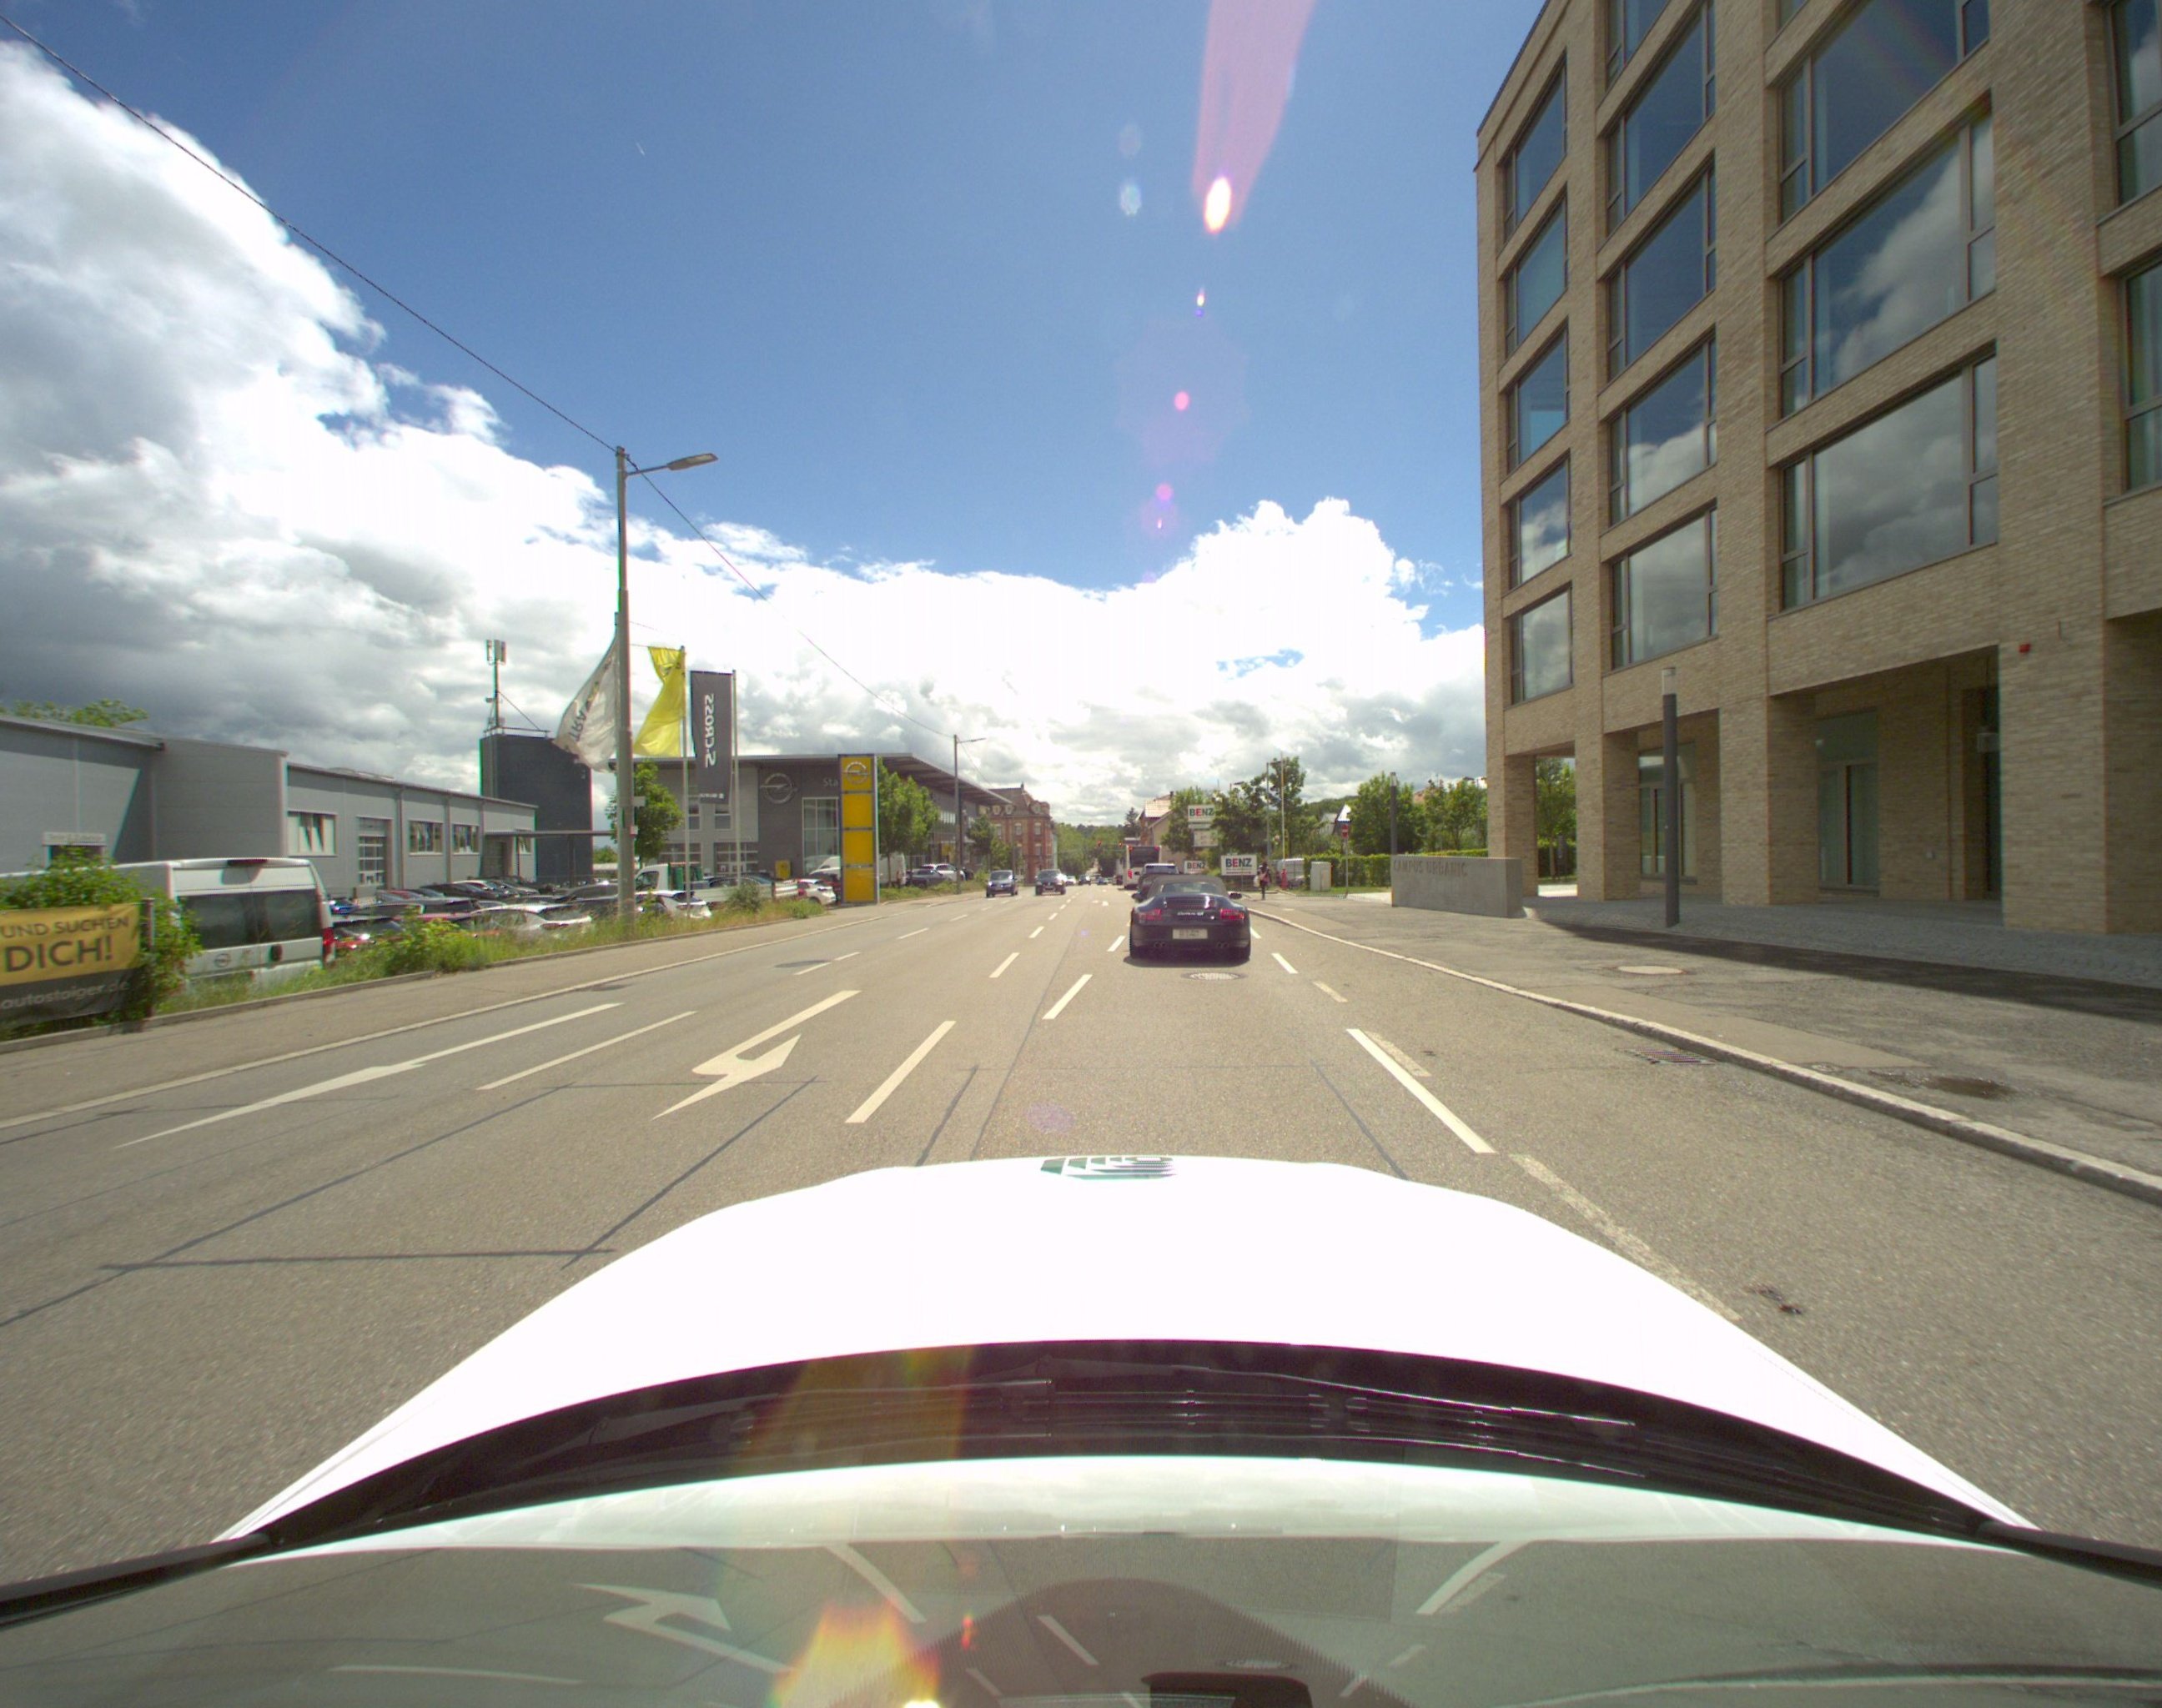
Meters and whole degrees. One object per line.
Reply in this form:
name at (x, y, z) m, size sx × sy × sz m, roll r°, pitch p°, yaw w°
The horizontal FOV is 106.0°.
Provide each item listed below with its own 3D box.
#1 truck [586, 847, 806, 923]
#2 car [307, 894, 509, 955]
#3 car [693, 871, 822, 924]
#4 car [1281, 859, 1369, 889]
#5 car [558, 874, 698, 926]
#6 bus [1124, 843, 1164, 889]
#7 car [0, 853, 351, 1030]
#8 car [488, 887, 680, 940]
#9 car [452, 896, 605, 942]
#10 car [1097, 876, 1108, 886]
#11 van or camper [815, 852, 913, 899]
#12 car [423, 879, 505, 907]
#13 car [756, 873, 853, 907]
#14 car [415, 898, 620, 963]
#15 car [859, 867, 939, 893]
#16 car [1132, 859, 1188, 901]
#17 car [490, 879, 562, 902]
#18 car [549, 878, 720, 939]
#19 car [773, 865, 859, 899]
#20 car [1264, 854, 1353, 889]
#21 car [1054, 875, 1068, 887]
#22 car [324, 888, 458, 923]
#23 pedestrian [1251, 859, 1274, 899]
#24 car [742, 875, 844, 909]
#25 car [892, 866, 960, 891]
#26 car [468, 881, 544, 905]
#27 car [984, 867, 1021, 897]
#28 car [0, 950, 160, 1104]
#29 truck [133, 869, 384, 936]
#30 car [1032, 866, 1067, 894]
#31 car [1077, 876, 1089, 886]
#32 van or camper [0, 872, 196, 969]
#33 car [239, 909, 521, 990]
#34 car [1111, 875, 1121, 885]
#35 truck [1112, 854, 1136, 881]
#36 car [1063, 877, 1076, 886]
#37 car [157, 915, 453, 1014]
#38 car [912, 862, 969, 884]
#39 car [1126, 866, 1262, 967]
truck at (-12.257, 0.979, 26.313) m, size 5.845 × 2.148 × 2.475 m, roll -2°, pitch -2°, yaw -2°
car at (-17.251, 1.784, 21.016) m, size 3.667 × 1.409 × 1.836 m, roll -1°, pitch -2°, yaw 1°
car at (-11.974, 1.600, 30.308) m, size 3.971 × 1.588 × 1.755 m, roll -4°, pitch 0°, yaw 2°
car at (13.925, 1.174, 46.645) m, size 4.417 × 1.482 × 2.000 m, roll -3°, pitch -2°, yaw 1°
car at (-16.692, 1.664, 30.153) m, size 4.065 × 1.522 × 1.826 m, roll -4°, pitch 0°, yaw 0°
bus at (4.844, 0.802, 63.752) m, size 2.790 × 3.197 × 12.207 m, roll -1°, pitch 1°, yaw 3°
car at (-12.690, 1.050, 10.686) m, size 4.148 × 2.013 × 2.198 m, roll -1°, pitch 1°, yaw -1°
car at (-12.599, 1.496, 20.840) m, size 3.703 × 1.211 × 1.929 m, roll -1°, pitch -2°, yaw 1°
car at (-17.829, 2.089, 26.391) m, size 3.809 × 1.328 × 1.646 m, roll -1°, pitch -2°, yaw 1°
car at (3.779, 4.779, 142.446) m, size 1.857 × 1.666 × 4.259 m, roll -1°, pitch -2°, yaw 1°
van or camper at (-12.578, 1.213, 47.431) m, size 5.009 × 2.531 × 2.318 m, roll -1°, pitch 0°, yaw 1°
car at (-36.315, 2.280, 48.027) m, size 3.475 × 1.398 × 1.654 m, roll -1°, pitch 1°, yaw -17°
car at (-13.562, 1.744, 40.094) m, size 3.969 × 1.491 × 2.003 m, roll -1°, pitch 1°, yaw 4°
car at (-12.762, 1.713, 18.573) m, size 3.529 × 1.325 × 1.713 m, roll -1°, pitch -2°, yaw 5°
car at (-11.457, 1.620, 51.460) m, size 4.500 × 1.509 × 1.920 m, roll -1°, pitch -2°, yaw -40°
car at (3.270, 1.048, 34.412) m, size 1.924 × 1.583 × 4.207 m, roll -1°, pitch 0°, yaw 0°
car at (-36.143, 2.386, 53.083) m, size 3.475 × 1.284 × 1.654 m, roll -1°, pitch 1°, yaw -17°
car at (-12.895, 1.553, 23.702) m, size 3.871 × 1.609 × 1.929 m, roll -1°, pitch -2°, yaw 1°
car at (-14.563, 1.533, 44.937) m, size 3.966 × 1.706 × 2.004 m, roll -1°, pitch 1°, yaw 7°
car at (13.797, 1.074, 49.480) m, size 4.701 × 1.848 × 2.084 m, roll -2°, pitch -2°, yaw -6°
car at (-2.883, 3.885, 118.026) m, size 1.866 × 1.491 × 3.847 m, roll -4°, pitch -1°, yaw -1°
car at (-31.344, 2.331, 37.151) m, size 4.245 × 1.409 × 1.914 m, roll 0°, pitch -2°, yaw -22°
pedestrian at (7.195, 0.969, 32.301) m, size 0.685 × 1.536 × 0.856 m, roll -2°, pitch -1°, yaw 1°
car at (-13.317, 1.735, 37.812) m, size 3.974 × 1.409 × 2.000 m, roll -1°, pitch 1°, yaw 0°
car at (-10.549, 1.652, 55.858) m, size 1.877 × 1.450 × 4.862 m, roll -1°, pitch 1°, yaw 29°
car at (-35.834, 2.407, 50.837) m, size 3.475 × 1.284 × 1.654 m, roll -1°, pitch 1°, yaw -17°
car at (-4.687, 1.671, 49.175) m, size 1.738 × 1.595 × 4.042 m, roll -4°, pitch -1°, yaw 1°
car at (-12.654, 1.818, 8.405) m, size 4.020 × 1.386 × 1.928 m, roll -1°, pitch -2°, yaw 0°
truck at (-31.799, 1.833, 31.845) m, size 6.312 × 2.229 × 2.684 m, roll -1°, pitch -2°, yaw -19°
car at (-1.821, 1.526, 48.151) m, size 1.823 × 1.509 × 4.276 m, roll -2°, pitch -1°, yaw 0°
car at (0.335, 4.140, 126.790) m, size 1.857 × 1.541 × 4.107 m, roll -1°, pitch -2°, yaw 1°
van or camper at (-28.675, 1.787, 22.025) m, size 5.896 × 2.355 × 2.489 m, roll -1°, pitch 0°, yaw -17°
car at (-13.726, 1.850, 16.113) m, size 4.013 × 1.386 × 1.931 m, roll -1°, pitch -2°, yaw 5°
car at (6.954, 5.156, 162.199) m, size 1.826 × 1.882 × 4.000 m, roll -2°, pitch -1°, yaw 0°
truck at (5.235, 1.763, 101.389) m, size 2.657 × 3.108 × 9.037 m, roll -2°, pitch -2°, yaw 2°
car at (-1.931, 4.596, 136.265) m, size 1.857 × 1.541 × 4.108 m, roll -1°, pitch -2°, yaw 2°
car at (-12.670, 1.773, 13.437) m, size 3.321 × 1.409 × 1.729 m, roll -1°, pitch -2°, yaw 5°
car at (-10.492, 1.440, 61.161) m, size 1.913 × 1.573 × 4.579 m, roll -2°, pitch -2°, yaw 25°
car at (1.752, 0.934, 13.861) m, size 1.922 × 1.376 × 4.211 m, roll -1°, pitch 0°, yaw 3°
